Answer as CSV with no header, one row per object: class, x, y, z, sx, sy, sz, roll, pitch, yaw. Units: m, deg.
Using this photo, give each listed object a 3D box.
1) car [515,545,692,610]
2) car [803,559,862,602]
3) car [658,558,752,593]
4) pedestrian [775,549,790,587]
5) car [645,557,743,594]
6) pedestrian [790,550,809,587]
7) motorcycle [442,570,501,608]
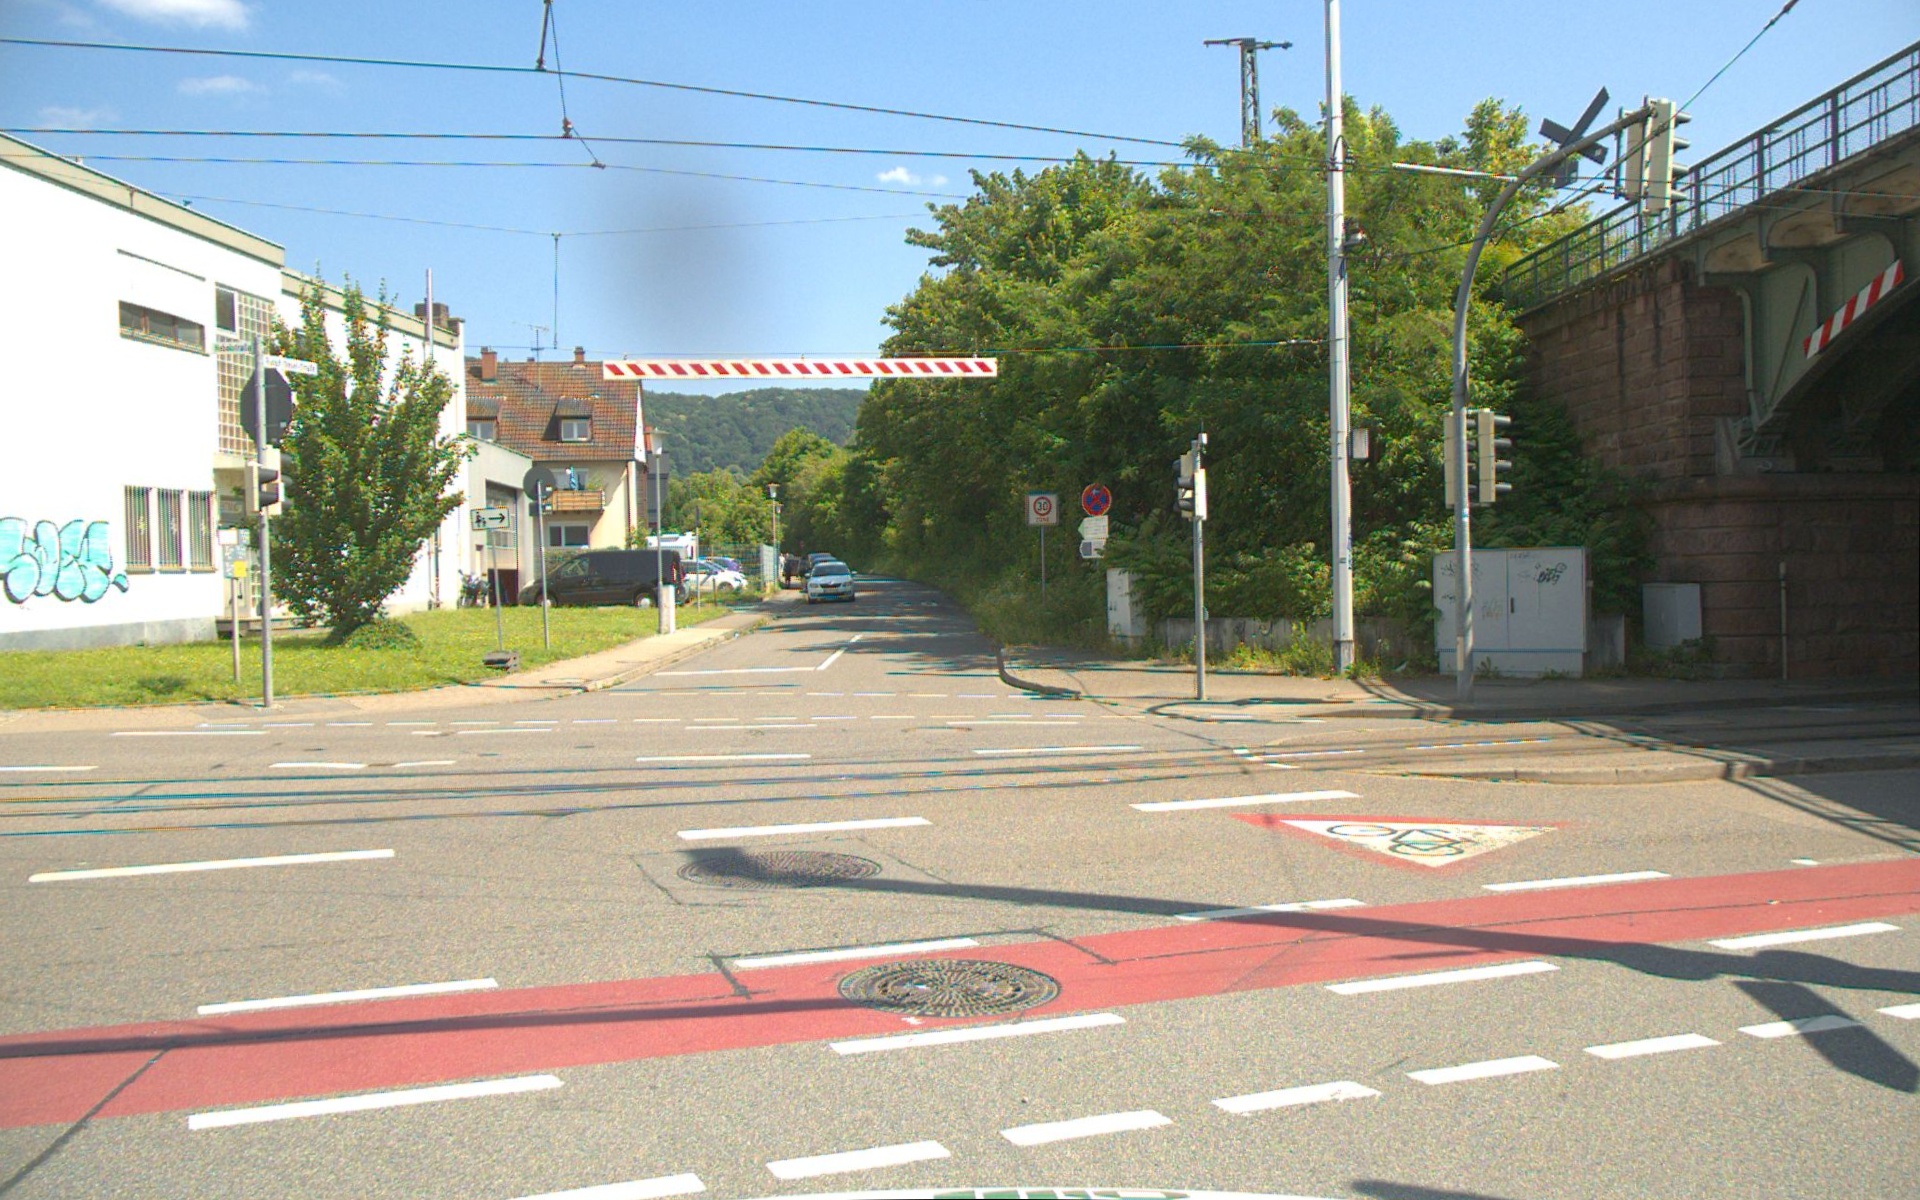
car,-11.176,-0.724,52.114,5.144,1.848,1.999,-2,1,-4
car,-4.824,-0.769,63.050,2.045,1.536,4.538,0,1,-2
car,-10.592,-1.000,68.877,3.645,1.395,1.604,0,0,-1
pedestrian,-8.613,-1.546,80.244,0.641,1.793,0.803,0,-1,-3
car,-10.623,-0.967,66.211,3.645,1.395,1.604,0,-1,-1
pedestrian,-7.749,-1.513,79.988,0.858,1.793,0.730,0,-1,-3
motorcycle,-13.823,-0.289,46.886,0.834,1.050,2.567,0,0,1
